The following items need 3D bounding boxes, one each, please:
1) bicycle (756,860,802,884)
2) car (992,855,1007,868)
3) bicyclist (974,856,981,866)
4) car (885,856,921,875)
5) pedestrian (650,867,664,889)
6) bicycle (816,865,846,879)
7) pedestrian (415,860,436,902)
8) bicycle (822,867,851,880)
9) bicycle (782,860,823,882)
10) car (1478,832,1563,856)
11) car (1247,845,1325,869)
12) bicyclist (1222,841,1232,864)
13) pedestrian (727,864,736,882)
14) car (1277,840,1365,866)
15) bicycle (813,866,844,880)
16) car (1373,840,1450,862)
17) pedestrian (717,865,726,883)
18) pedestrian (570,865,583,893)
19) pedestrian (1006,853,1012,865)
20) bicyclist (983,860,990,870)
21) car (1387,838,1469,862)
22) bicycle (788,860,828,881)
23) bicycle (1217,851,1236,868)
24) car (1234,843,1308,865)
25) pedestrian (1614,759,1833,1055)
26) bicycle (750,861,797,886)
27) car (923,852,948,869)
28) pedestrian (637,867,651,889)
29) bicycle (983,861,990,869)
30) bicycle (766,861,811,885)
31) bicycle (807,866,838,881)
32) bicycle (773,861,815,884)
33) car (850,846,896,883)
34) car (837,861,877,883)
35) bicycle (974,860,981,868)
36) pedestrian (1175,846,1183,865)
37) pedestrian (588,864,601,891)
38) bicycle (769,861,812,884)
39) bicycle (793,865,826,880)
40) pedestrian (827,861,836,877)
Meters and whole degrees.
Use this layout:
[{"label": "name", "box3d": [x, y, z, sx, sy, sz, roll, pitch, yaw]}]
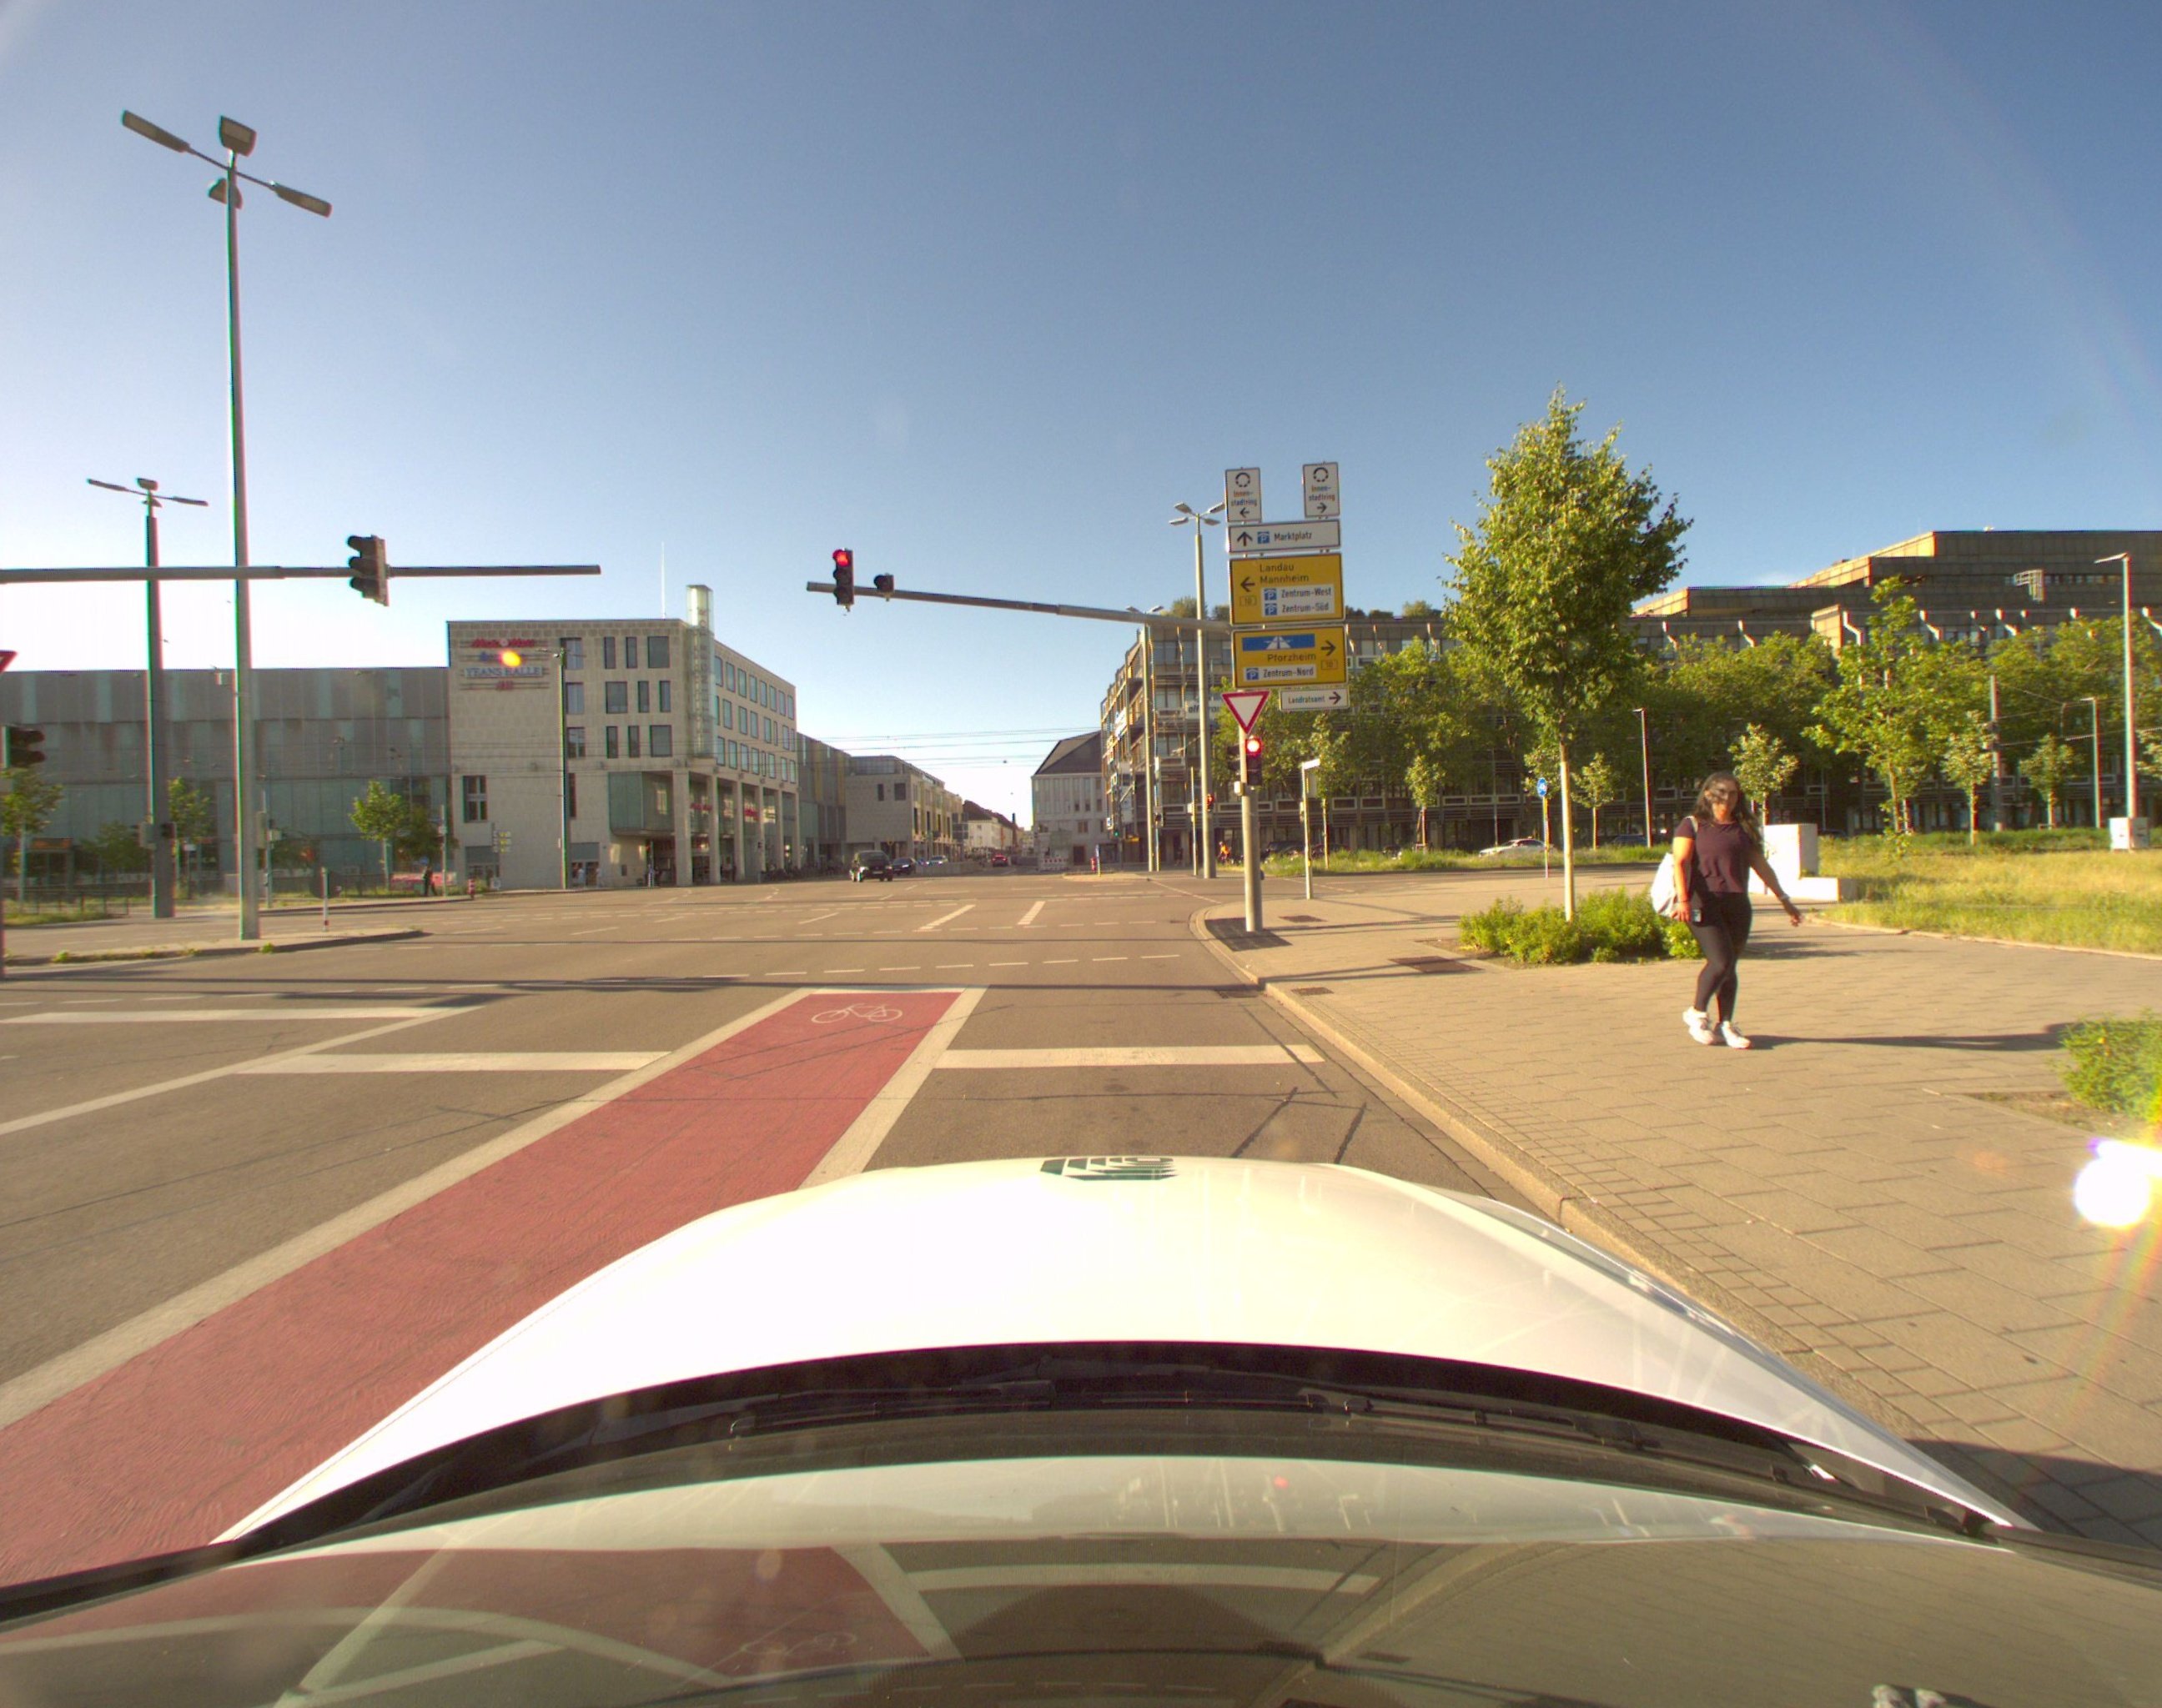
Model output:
[{"label": "bicycle", "box3d": [-27.183, 1.606, 73.344, 3.613, 2.013, 1.085, -3, 0, -4]}, {"label": "car", "box3d": [-11.162, 1.027, 111.290, 1.991, 1.552, 3.992, -2, 0, -5]}, {"label": "bicyclist", "box3d": [-14.457, 0.967, 113.876, 0.744, 1.460, 0.766, -2, 0, -2]}, {"label": "car", "box3d": [-15.436, 0.990, 70.657, 1.985, 1.530, 4.039, -2, 0, 3]}, {"label": "pedestrian", "box3d": [-31.944, 1.785, 61.317, 0.621, 1.608, 0.653, -2, 0, 0]}, {"label": "bicycle", "box3d": [-28.099, 2.038, 91.539, 3.044, 1.400, 0.901, -3, 0, -4]}, {"label": "pedestrian", "box3d": [-32.600, 1.334, 40.506, 0.515, 2.013, 0.622, -2, 0, -12]}, {"label": "bicycle", "box3d": [-28.247, 2.240, 94.239, 3.044, 1.400, 0.901, -3, 0, -4]}, {"label": "bicycle", "box3d": [-27.666, 1.708, 80.990, 3.613, 2.013, 0.901, -3, 0, -4]}, {"label": "car", "box3d": [29.211, -0.674, 54.219, 4.620, 1.356, 1.998, -2, 2, -3]}, {"label": "car", "box3d": [13.468, 0.178, 53.688, 4.620, 1.356, 1.998, -2, 2, -3]}, {"label": "bicyclist", "box3d": [8.931, -0.095, 49.744, 0.506, 1.338, 0.453, -2, 0, 3]}, {"label": "pedestrian", "box3d": [-31.828, 1.717, 74.175, 0.627, 1.608, 0.646, -2, 0, -35]}, {"label": "car", "box3d": [14.321, -0.077, 48.740, 4.620, 1.356, 1.998, -2, 2, -3]}, {"label": "bicycle", "box3d": [-27.944, 2.125, 90.125, 3.044, 1.400, 0.901, -3, 0, -4]}, {"label": "car", "box3d": [23.365, -0.230, 57.622, 4.620, 1.356, 1.998, -2, 2, -3]}, {"label": "pedestrian", "box3d": [-32.437, 1.806, 73.504, 0.627, 1.608, 0.646, -2, 0, -35]}, {"label": "pedestrian", "box3d": [-38.001, 1.886, 61.328, 0.622, 2.013, 0.515, -2, 0, -8]}, {"label": "pedestrian", "box3d": [-9.820, 0.647, 111.201, 0.712, 1.668, 0.987, -2, 0, -2]}, {"label": "bicyclist", "box3d": [-13.288, 1.553, 114.635, 0.744, 1.460, 0.766, -2, 0, -2]}, {"label": "car", "box3d": [22.991, -0.298, 54.011, 4.620, 1.356, 1.998, -2, 2, -3]}, {"label": "bicycle", "box3d": [-27.778, 1.663, 82.833, 3.613, 2.013, 0.901, -3, 0, -4]}, {"label": "bicycle", "box3d": [8.895, 0.344, 49.741, 1.072, 0.971, 0.458, -2, 0, 2]}, {"label": "car", "box3d": [13.108, -0.014, 56.388, 4.620, 1.356, 1.998, -2, 2, -3]}, {"label": "pedestrian", "box3d": [4.203, 0.321, 5.437, 0.814, 1.748, 1.047, -3, 0, 22]}, {"label": "bicycle", "box3d": [-27.153, 1.715, 72.005, 3.617, 2.013, 1.084, -3, 0, -7]}, {"label": "car", "box3d": [-15.450, 0.678, 86.741, 1.988, 1.623, 4.234, -2, 0, -2]}, {"label": "pedestrian", "box3d": [-32.951, 1.837, 61.368, 0.621, 1.608, 0.653, -2, 0, 0]}, {"label": "bicycle", "box3d": [-13.254, 1.564, 114.498, 0.739, 1.046, 2.429, -2, 0, -2]}, {"label": "bicycle", "box3d": [-26.865, 1.764, 74.802, 3.613, 2.013, 1.085, -3, 0, -4]}, {"label": "bicycle", "box3d": [-27.980, 2.087, 88.237, 3.044, 1.400, 0.901, -3, 0, -4]}, {"label": "bicycle", "box3d": [-27.800, 1.751, 78.900, 3.613, 2.013, 1.085, -3, 0, -4]}, {"label": "car", "box3d": [-11.357, 0.515, 44.281, 2.000, 1.742, 4.616, -2, 2, -19]}, {"label": "car", "box3d": [-16.230, 1.277, 59.164, 1.991, 1.356, 4.637, -2, 2, -6]}, {"label": "bicycle", "box3d": [-14.487, 1.366, 113.962, 0.739, 1.046, 2.429, -2, 0, -2]}, {"label": "pedestrian", "box3d": [8.251, 0.119, 68.609, 0.619, 1.518, 0.655, -2, 0, 9]}, {"label": "pedestrian", "box3d": [-37.462, 1.812, 62.720, 0.622, 2.013, 0.515, -2, 0, -8]}, {"label": "bicycle", "box3d": [-27.694, 1.739, 77.752, 3.613, 2.013, 1.085, -3, 0, -4]}, {"label": "bicycle", "box3d": [-27.908, 1.931, 83.811, 3.044, 1.400, 0.901, -3, 0, -4]}, {"label": "pedestrian", "box3d": [-25.669, 1.517, 83.775, 0.746, 1.608, 0.619, -2, 0, -27]}]
